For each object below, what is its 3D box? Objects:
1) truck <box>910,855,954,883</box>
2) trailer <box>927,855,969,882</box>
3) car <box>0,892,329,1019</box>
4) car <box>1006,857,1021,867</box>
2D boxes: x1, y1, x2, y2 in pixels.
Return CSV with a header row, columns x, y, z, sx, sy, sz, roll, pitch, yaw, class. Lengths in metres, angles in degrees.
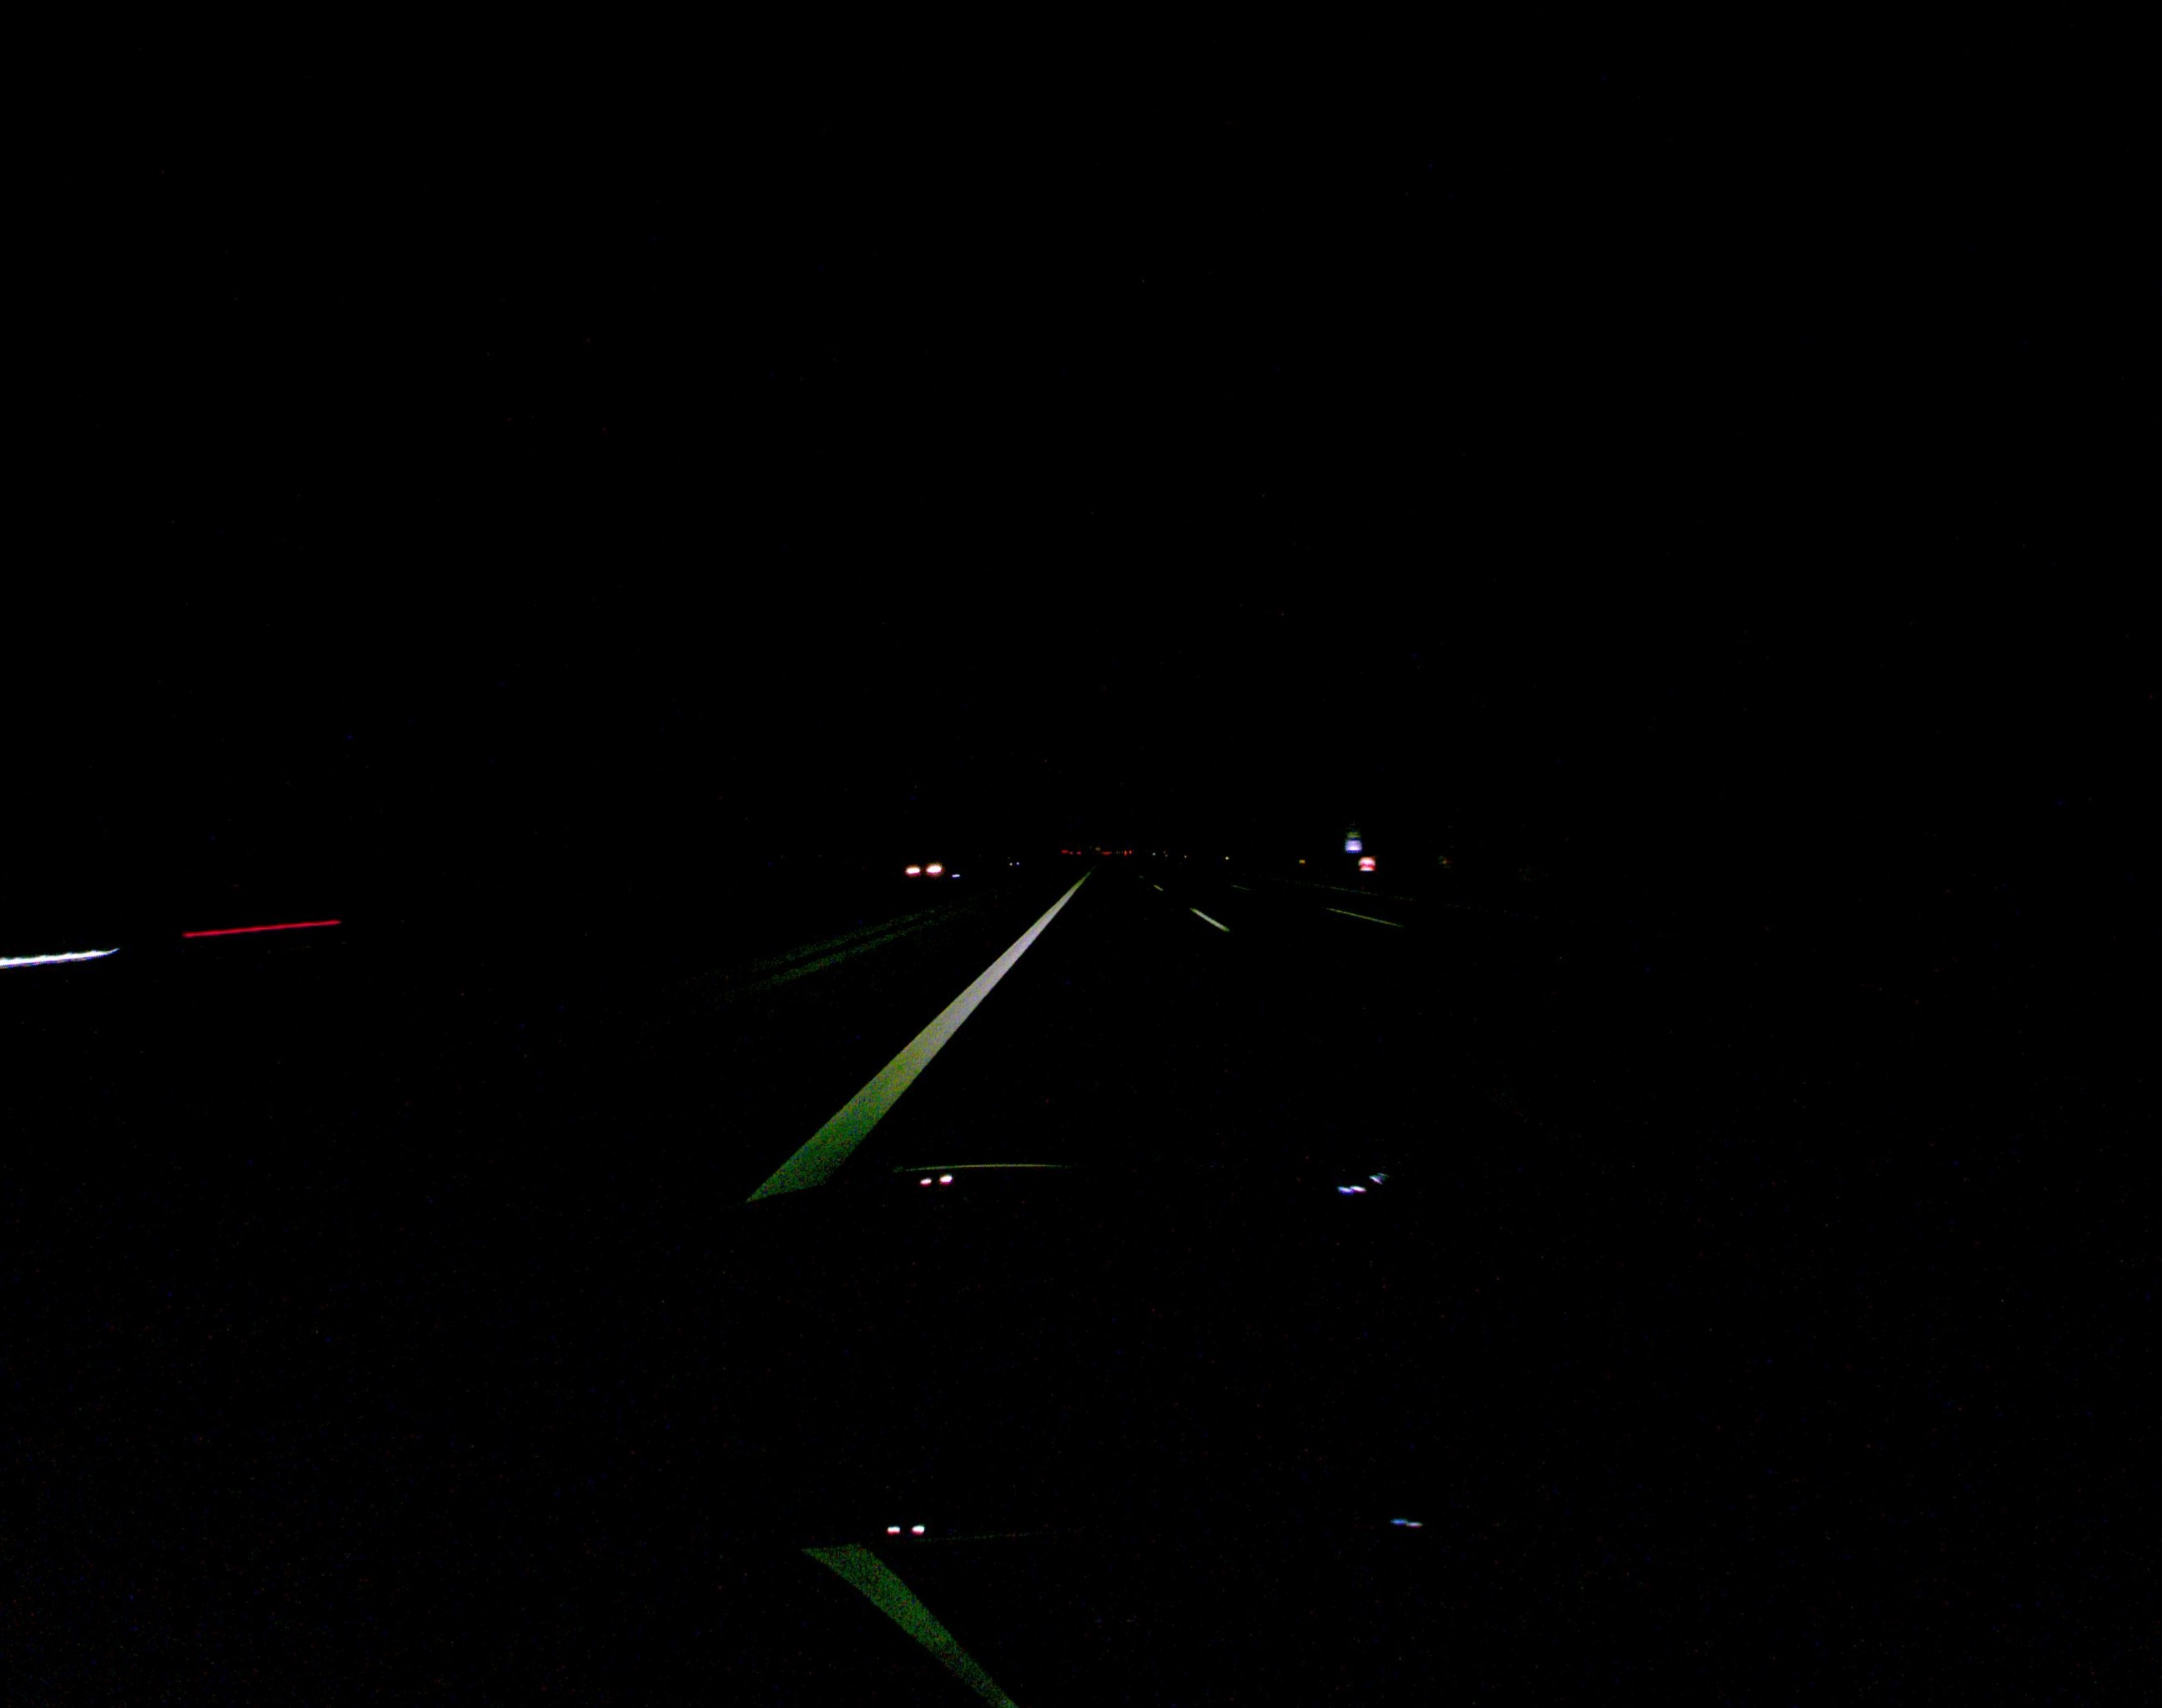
x,y,z,sx,sy,sz,roll,pitch,yaw,class
-11.011,1.090,60.513,1.986,1.942,5.243,-3,-1,2,truck
-10.772,1.124,66.443,1.986,1.940,6.625,-2,0,2,trailer
-15.391,1.520,13.087,1.986,1.485,4.802,-3,0,2,car
-11.813,1.366,143.547,1.986,1.503,5.203,-3,0,2,car
